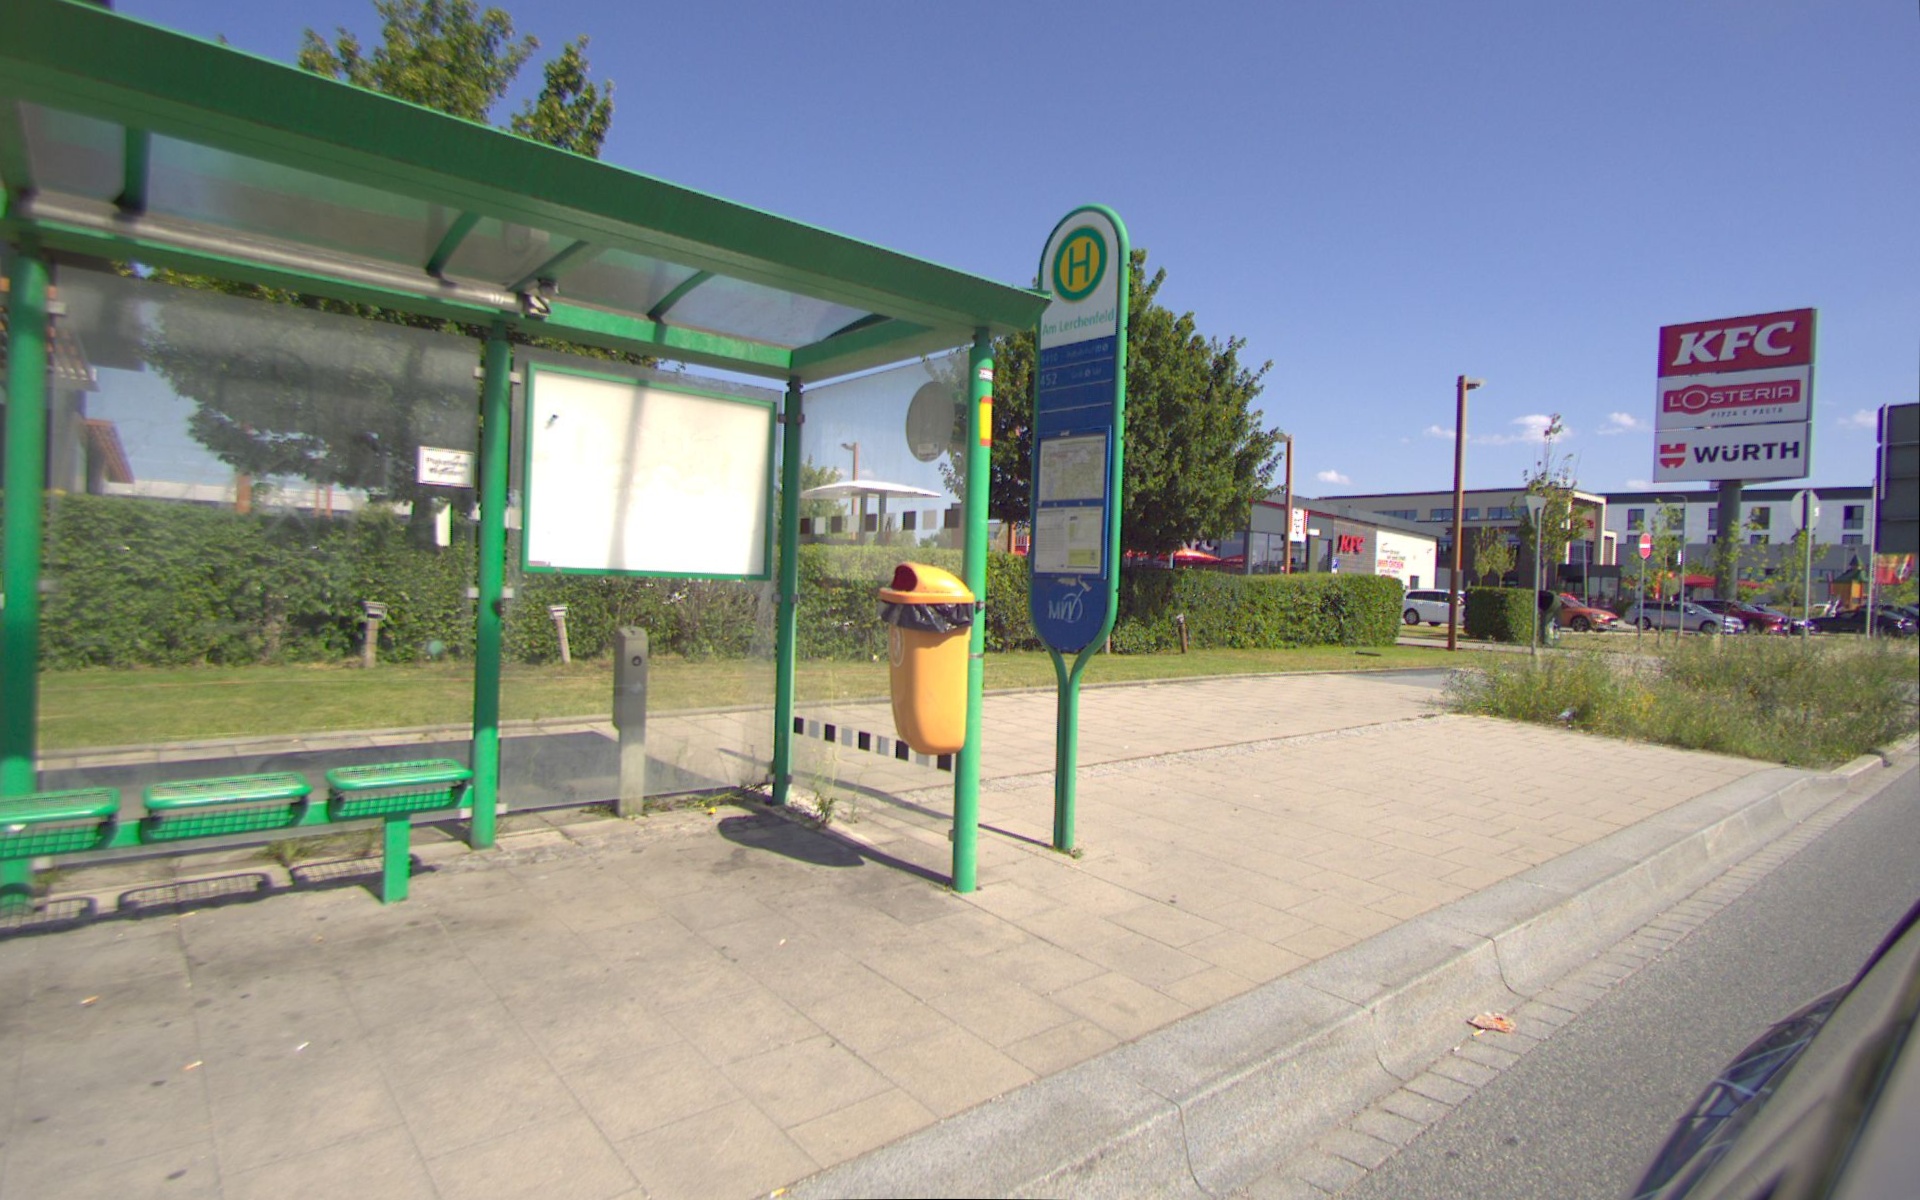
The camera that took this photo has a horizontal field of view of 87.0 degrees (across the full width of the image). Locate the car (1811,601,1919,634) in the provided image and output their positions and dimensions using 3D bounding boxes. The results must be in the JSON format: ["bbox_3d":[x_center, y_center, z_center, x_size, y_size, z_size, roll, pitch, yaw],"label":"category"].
[{"bbox_3d":[47.653,0.883,52.966,1.753,1.467,4.431,2,2,-22],"label":"car"}]

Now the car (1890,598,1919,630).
[{"bbox_3d":[54.602,0.876,55.869,1.753,1.756,4.431,2,2,-21],"label":"car"}]

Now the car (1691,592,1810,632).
[{"bbox_3d":[38.451,0.574,49.337,1.830,1.686,4.176,2,2,-24],"label":"car"}]

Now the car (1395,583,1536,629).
[{"bbox_3d":[19.397,0.200,39.015,1.832,1.509,4.545,2,1,-32],"label":"car"}]

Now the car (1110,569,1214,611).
[{"bbox_3d":[8.629,-0.438,43.471,1.759,1.655,4.165,1,2,-39],"label":"car"}]

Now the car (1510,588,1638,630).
[{"bbox_3d":[25.800,0.363,42.675,1.832,1.509,4.223,2,1,-32],"label":"car"}]

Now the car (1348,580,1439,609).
[{"bbox_3d":[25.602,-0.357,59.864,1.835,1.449,4.567,1,2,-39],"label":"car"}]

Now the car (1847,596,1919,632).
[{"bbox_3d":[51.666,0.799,55.336,1.753,1.756,4.431,2,2,-21],"label":"car"}]

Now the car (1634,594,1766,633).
[{"bbox_3d":[34.409,0.605,47.203,1.830,1.508,4.578,2,2,-28],"label":"car"}]

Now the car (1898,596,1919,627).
[{"bbox_3d":[57.308,0.797,57.850,1.899,1.756,5.010,2,2,-23],"label":"car"}]

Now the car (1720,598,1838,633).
[{"bbox_3d":[40.748,0.747,50.469,1.755,1.467,4.173,2,2,-30],"label":"car"}]

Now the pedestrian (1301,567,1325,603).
[{"bbox_3d":[20.439,-0.873,58.538,0.874,2.039,0.916,1,1,-35],"label":"pedestrian"}]
